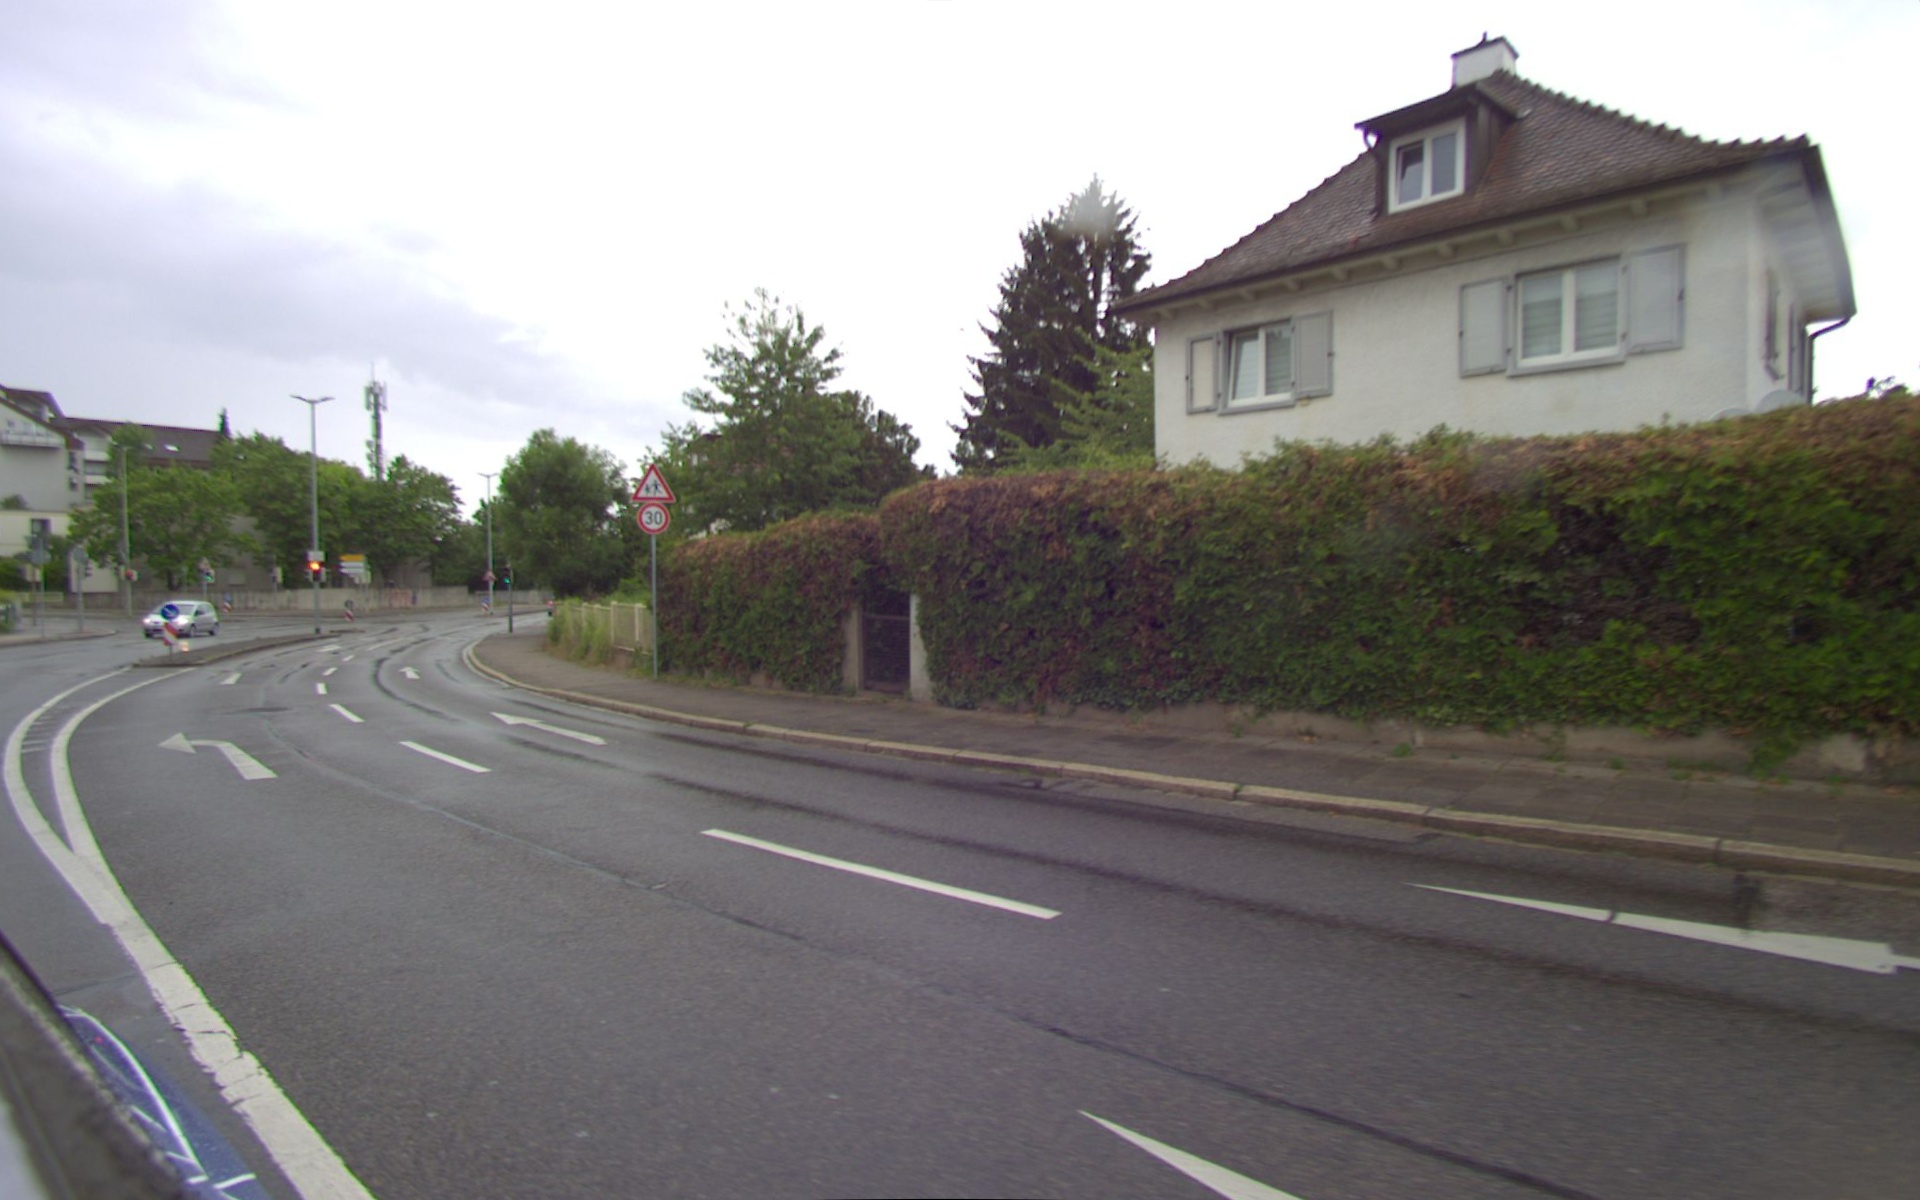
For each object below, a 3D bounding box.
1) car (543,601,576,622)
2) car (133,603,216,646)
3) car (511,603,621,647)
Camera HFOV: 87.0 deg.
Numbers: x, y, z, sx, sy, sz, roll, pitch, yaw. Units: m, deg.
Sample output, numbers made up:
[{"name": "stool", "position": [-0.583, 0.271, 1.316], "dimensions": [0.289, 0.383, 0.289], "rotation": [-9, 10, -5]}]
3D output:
[{"name": "car", "position": [-31.605, 0.869, 80.049], "dimensions": [1.653, 1.460, 4.700], "rotation": [0, 1, -12]}, {"name": "car", "position": [-34.025, 1.005, 43.949], "dimensions": [1.965, 1.669, 4.014], "rotation": [0, 2, -25]}, {"name": "car", "position": [-15.957, 0.970, 41.010], "dimensions": [3.932, 1.405, 1.939], "rotation": [-5, 2, -26]}]
